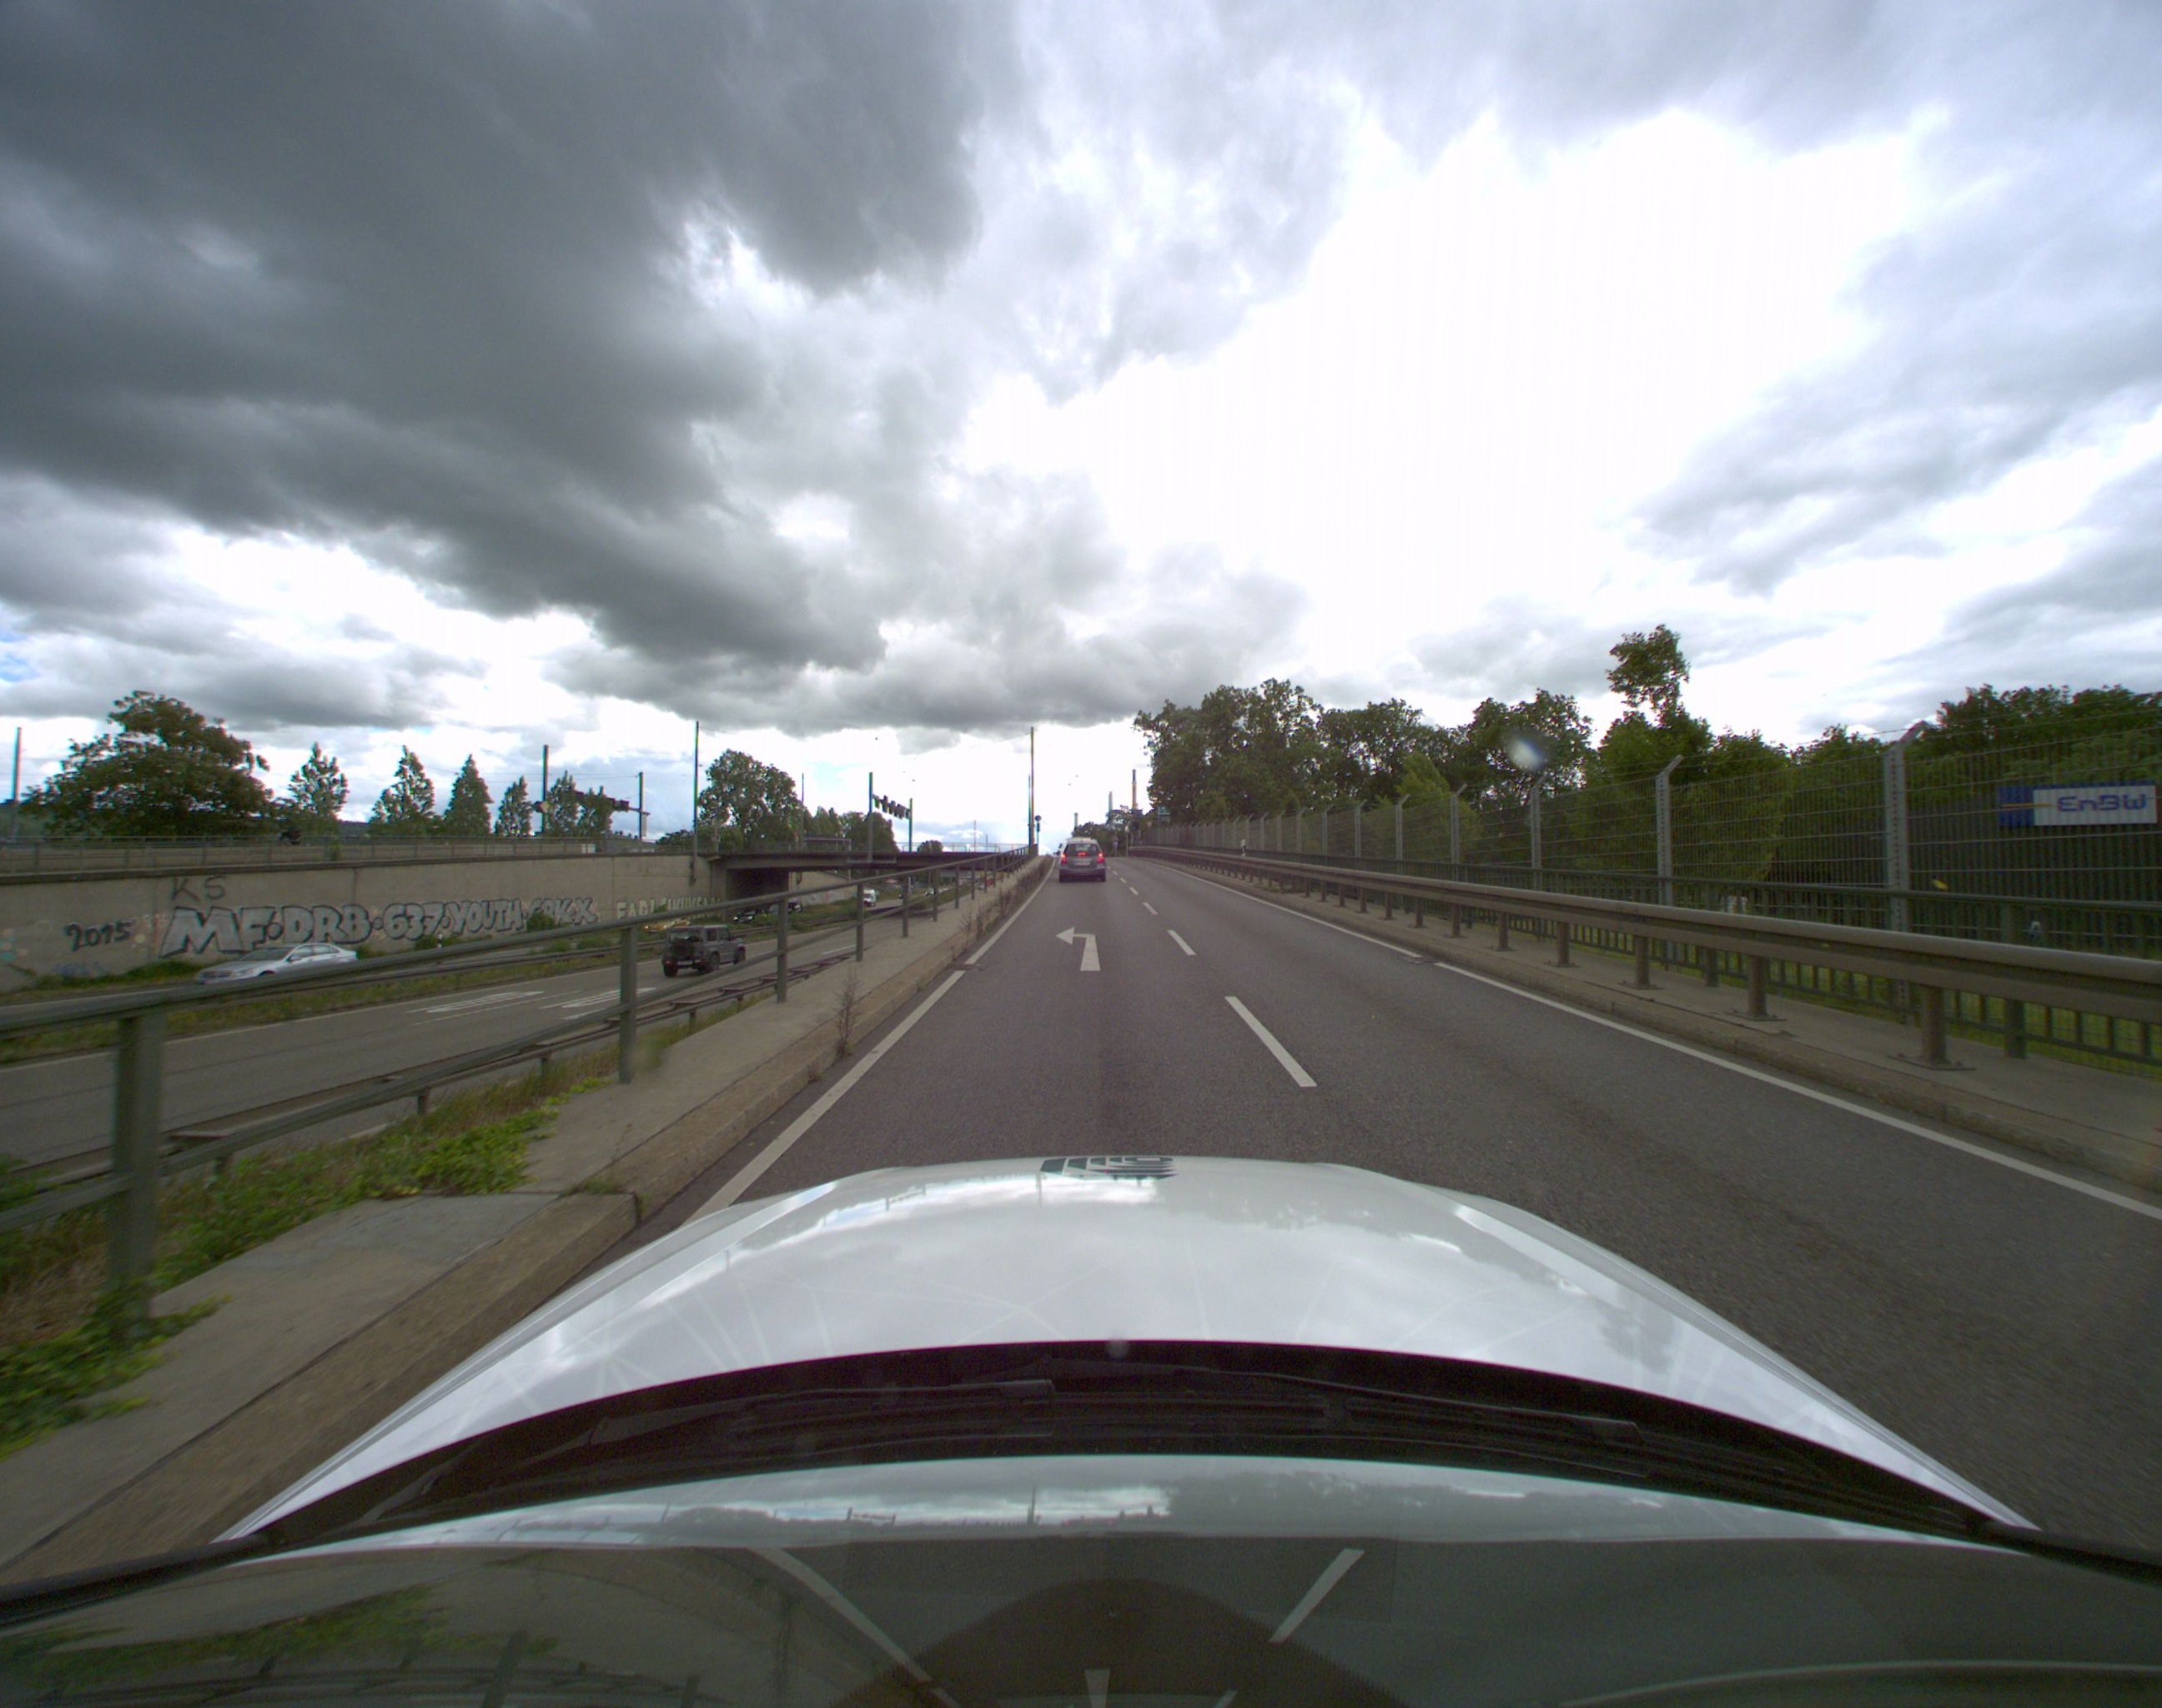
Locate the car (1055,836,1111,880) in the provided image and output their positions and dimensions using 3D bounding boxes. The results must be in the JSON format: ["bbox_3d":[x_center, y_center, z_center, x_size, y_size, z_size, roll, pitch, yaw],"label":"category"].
[{"bbox_3d":[0.151,0.186,31.487,1.741,1.581,4.092,0,-1,6],"label":"car"}]

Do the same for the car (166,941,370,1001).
[{"bbox_3d":[-26.987,3.835,27.338,1.987,1.693,4.701,-2,-5,0],"label":"car"}]

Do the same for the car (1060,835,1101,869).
[{"bbox_3d":[-0.041,-0.131,42.764,1.987,1.603,4.000,-1,2,0],"label":"car"}]

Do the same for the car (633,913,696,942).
[{"bbox_3d":[-28.902,5.067,56.729,1.987,1.720,4.701,-2,-3,-1],"label":"car"}]

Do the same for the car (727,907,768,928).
[{"bbox_3d":[-30.303,5.756,74.132,1.988,1.692,4.698,-1,-2,-2],"label":"car"}]

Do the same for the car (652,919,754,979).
[{"bbox_3d":[-13.229,3.293,28.761,1.675,1.736,3.998,-2,-2,0],"label":"car"}]

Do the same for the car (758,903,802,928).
[{"bbox_3d":[-26.438,5.385,71.698,2.086,1.989,5.111,-2,-3,-2],"label":"car"}]
